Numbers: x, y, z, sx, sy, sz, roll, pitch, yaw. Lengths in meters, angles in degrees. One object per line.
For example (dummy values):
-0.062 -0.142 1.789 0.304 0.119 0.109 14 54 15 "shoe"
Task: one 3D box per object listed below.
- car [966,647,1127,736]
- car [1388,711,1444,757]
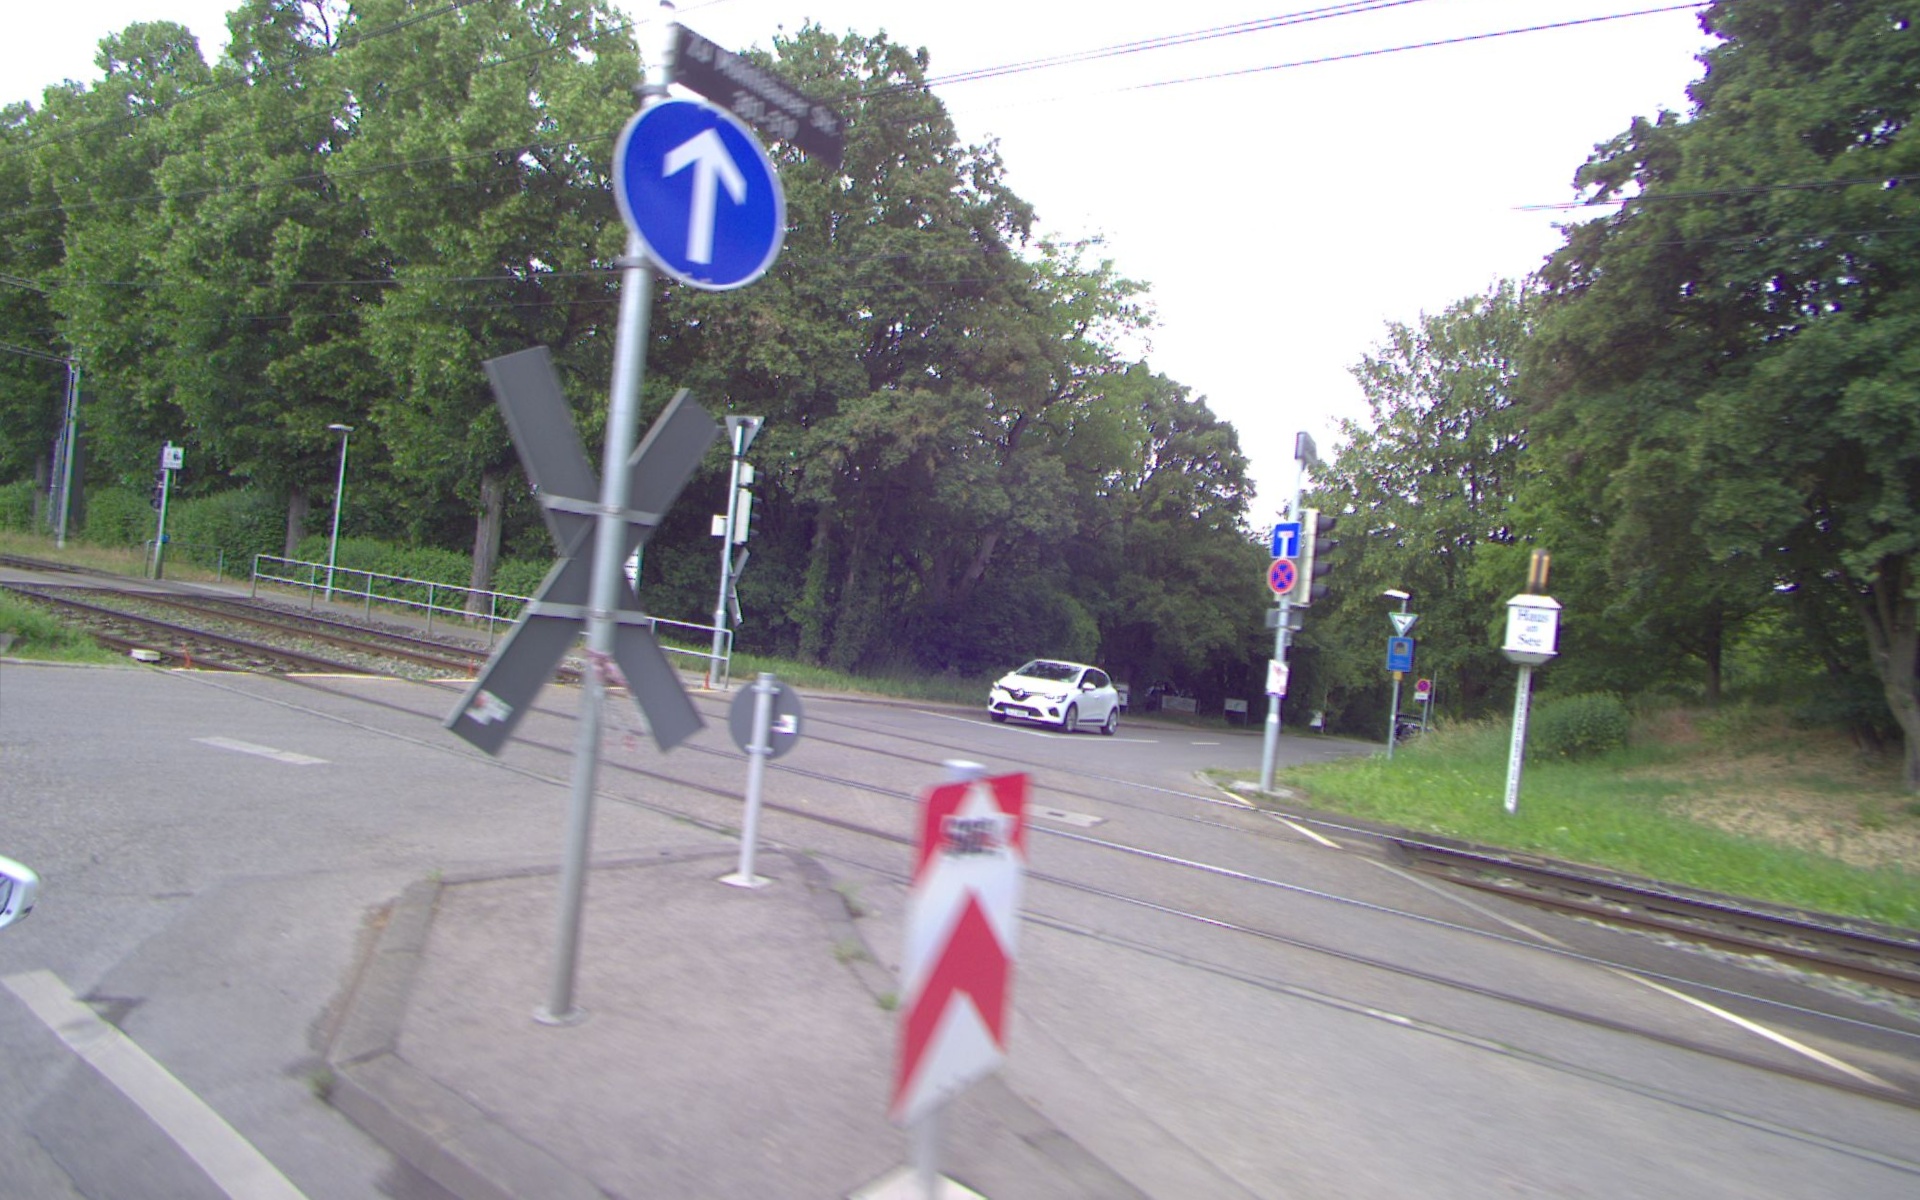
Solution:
1.934 1.989 21.197 1.964 1.367 4.005 7 -5 26 "car"
23.728 6.989 52.273 1.890 1.991 4.115 7 -3 34 "car"
